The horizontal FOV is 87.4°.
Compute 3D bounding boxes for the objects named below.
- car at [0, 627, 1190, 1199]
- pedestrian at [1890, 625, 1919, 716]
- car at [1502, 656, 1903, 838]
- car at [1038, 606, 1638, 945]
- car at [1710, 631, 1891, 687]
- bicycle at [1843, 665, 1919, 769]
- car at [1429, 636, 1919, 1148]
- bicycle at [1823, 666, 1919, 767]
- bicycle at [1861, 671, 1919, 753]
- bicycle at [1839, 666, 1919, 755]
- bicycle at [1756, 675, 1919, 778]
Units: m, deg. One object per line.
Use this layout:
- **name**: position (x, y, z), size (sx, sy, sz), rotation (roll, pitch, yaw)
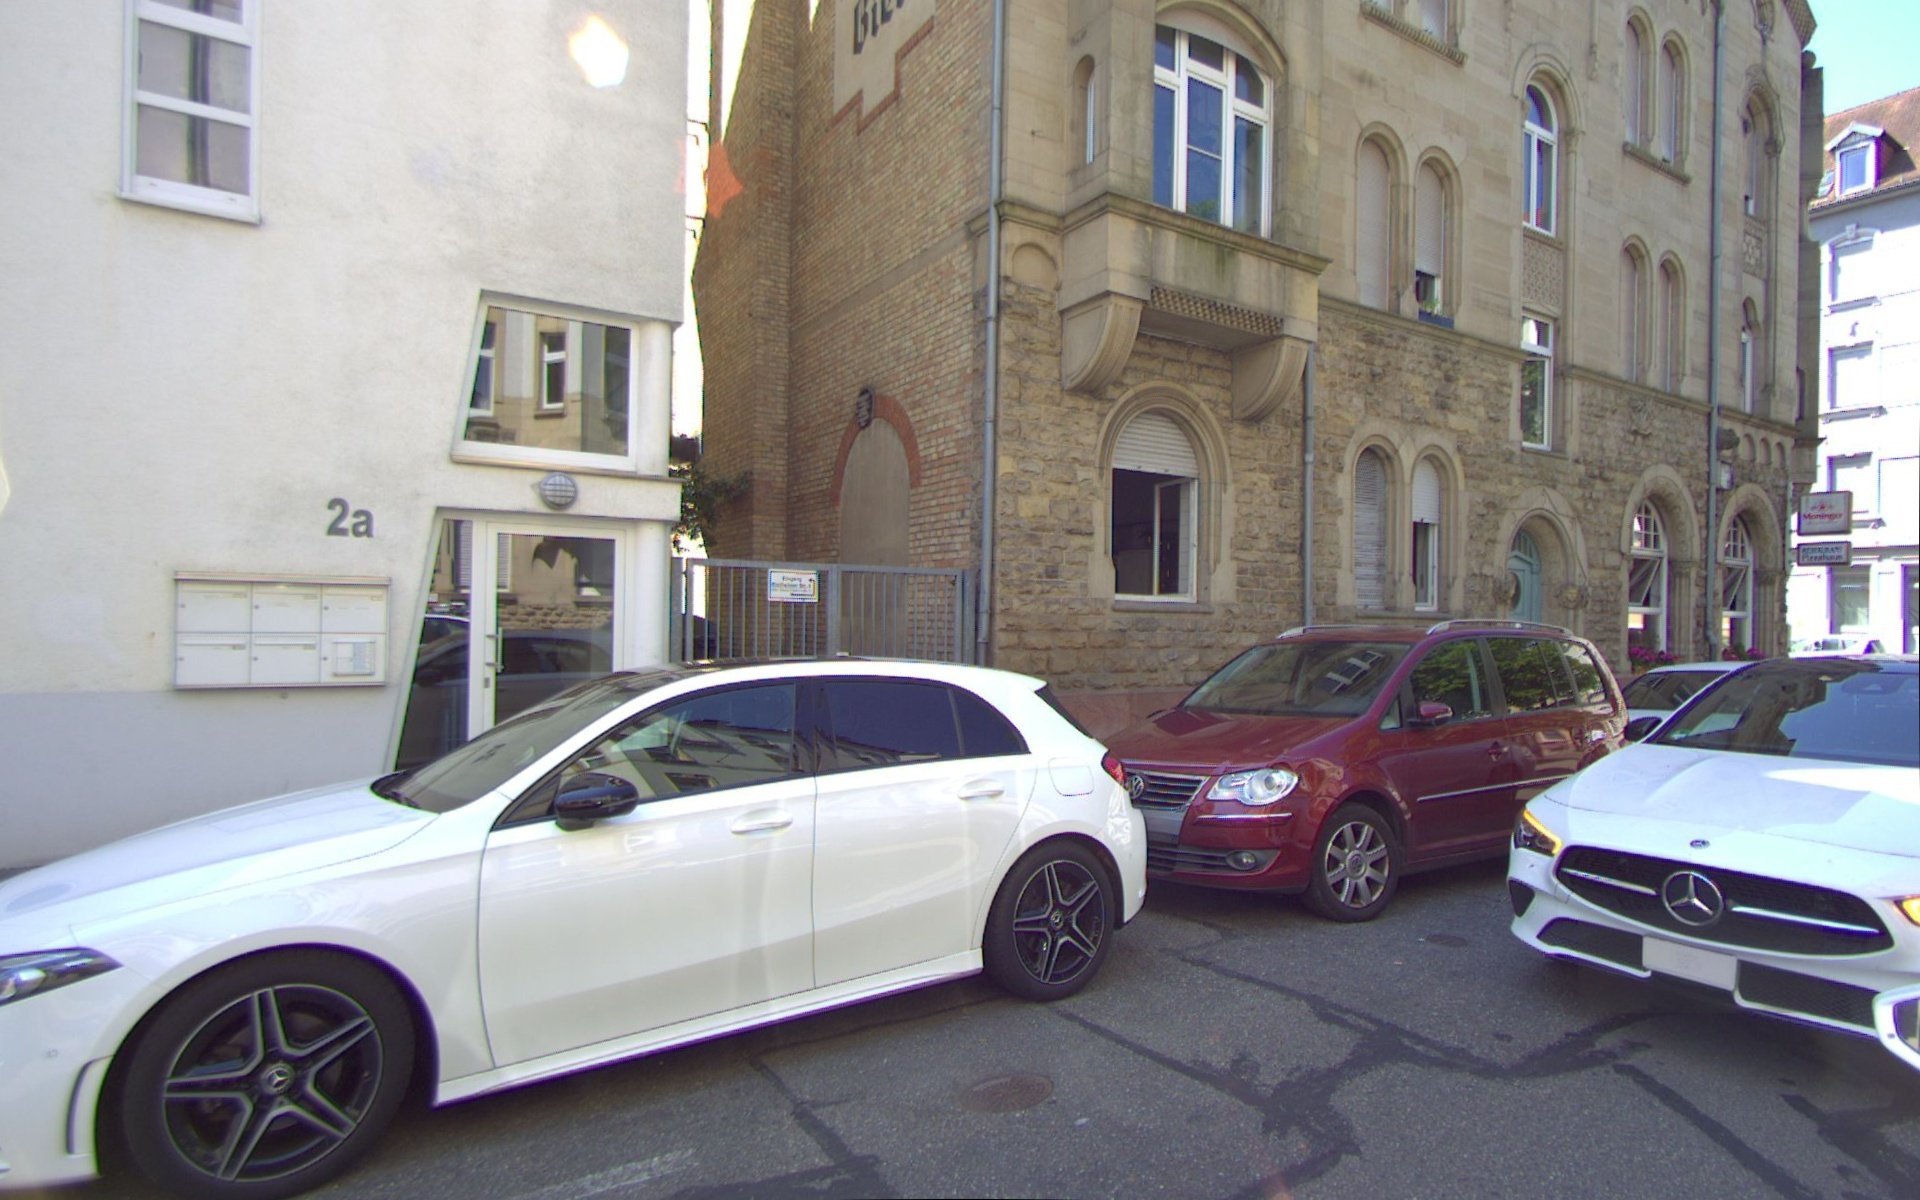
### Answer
- **car**: position (-1.197, 0.901, 4.107), size (4.235, 1.479, 1.766), rotation (2, -4, -34)
- **pedestrian**: position (18.256, 1.332, 18.958), size (0.765, 1.694, 0.853), rotation (2, -2, -31)
- **car**: position (7.179, 1.218, 9.573), size (4.469, 1.370, 1.691), rotation (2, -4, -34)
- **car**: position (2.597, 0.929, 6.596), size (4.010, 1.603, 1.663), rotation (2, -4, -34)
- **car**: position (26.199, 1.801, 31.438), size (1.787, 1.582, 4.024), rotation (2, -2, -32)
- **bicycle**: position (11.555, 1.419, 11.598), size (0.391, 1.145, 1.958), rotation (2, 2, -35)
- **car**: position (4.289, 0.940, 4.610), size (4.314, 1.480, 1.832), rotation (2, -4, -32)
- **bicycle**: position (11.766, 1.443, 12.123), size (0.432, 1.144, 1.982), rotation (2, 0, -35)
- **bicycle**: position (12.806, 1.505, 13.083), size (0.363, 1.021, 1.515), rotation (2, 1, -35)
- **bicycle**: position (12.418, 1.451, 12.836), size (0.410, 1.059, 1.693), rotation (2, 1, -35)
- **bicycle**: position (10.356, 1.441, 11.670), size (0.289, 1.114, 1.692), rotation (2, -4, -35)
